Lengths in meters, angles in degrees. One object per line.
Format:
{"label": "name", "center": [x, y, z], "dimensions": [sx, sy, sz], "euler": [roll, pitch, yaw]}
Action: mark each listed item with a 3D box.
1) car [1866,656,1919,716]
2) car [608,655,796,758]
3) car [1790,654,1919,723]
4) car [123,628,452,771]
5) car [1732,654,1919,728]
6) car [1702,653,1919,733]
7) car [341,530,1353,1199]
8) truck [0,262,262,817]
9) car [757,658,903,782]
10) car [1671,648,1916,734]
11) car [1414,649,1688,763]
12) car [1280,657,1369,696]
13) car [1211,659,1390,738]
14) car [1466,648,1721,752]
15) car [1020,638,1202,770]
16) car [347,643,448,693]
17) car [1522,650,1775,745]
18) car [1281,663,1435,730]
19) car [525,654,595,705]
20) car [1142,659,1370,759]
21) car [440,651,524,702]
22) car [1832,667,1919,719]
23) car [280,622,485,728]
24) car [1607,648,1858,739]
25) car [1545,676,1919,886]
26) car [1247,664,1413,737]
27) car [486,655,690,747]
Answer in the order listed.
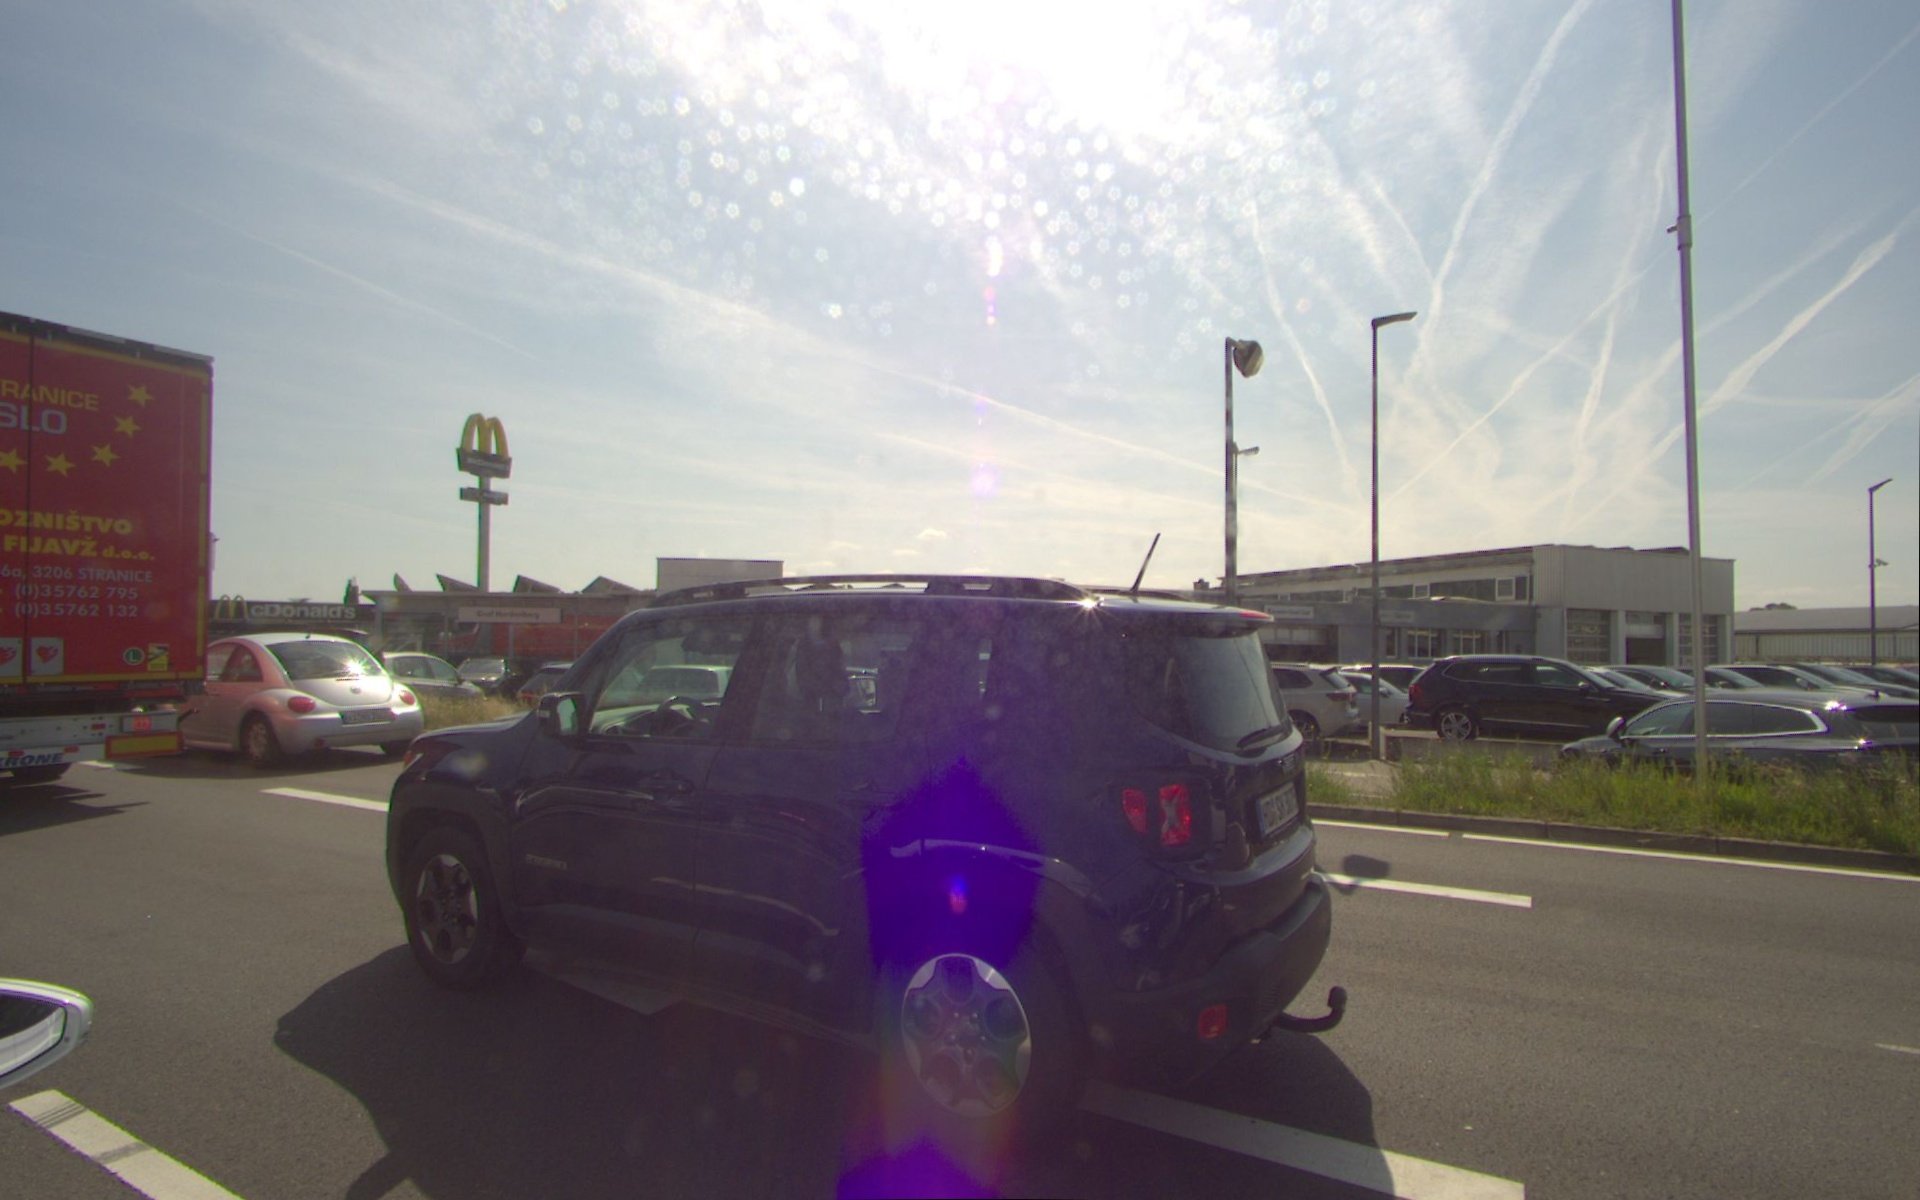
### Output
{"label": "car", "center": [30.326, 2.631, 30.146], "dimensions": [1.882, 1.777, 4.209], "euler": [2, -3, -32]}
{"label": "car", "center": [-4.116, 1.664, 16.616], "dimensions": [1.670, 1.417, 3.847], "euler": [0, -2, 8]}
{"label": "car", "center": [26.004, 2.438, 27.816], "dimensions": [1.883, 1.777, 4.208], "euler": [2, -3, -32]}
{"label": "car", "center": [-8.188, 1.085, 12.151], "dimensions": [3.937, 1.491, 1.658], "euler": [-1, -1, 28]}
{"label": "car", "center": [23.571, 2.368, 26.833], "dimensions": [1.883, 1.777, 4.208], "euler": [2, -3, -32]}
{"label": "car", "center": [21.810, 2.294, 25.606], "dimensions": [1.883, 1.777, 4.208], "euler": [2, -3, -32]}
{"label": "car", "center": [-0.609, 0.731, 4.175], "dimensions": [3.942, 1.707, 1.816], "euler": [-1, -1, 32]}
{"label": "truck", "center": [-14.303, -0.368, 12.300], "dimensions": [16.340, 4.324, 2.954], "euler": [-1, -2, 31]}
{"label": "car", "center": [-1.835, 1.706, 15.292], "dimensions": [1.705, 1.555, 4.040], "euler": [1, -2, 0]}
{"label": "car", "center": [19.882, 2.089, 24.047], "dimensions": [1.961, 1.812, 4.202], "euler": [2, -3, -37]}
{"label": "car", "center": [10.812, 1.846, 18.494], "dimensions": [4.175, 1.812, 1.973], "euler": [-1, -3, 35]}
{"label": "car", "center": [13.296, 2.774, 36.699], "dimensions": [1.575, 1.270, 3.722], "euler": [1, -2, -6]}
{"label": "car", "center": [7.821, 2.208, 23.094], "dimensions": [3.666, 1.601, 1.599], "euler": [-1, -2, 31]}
{"label": "car", "center": [12.643, 1.919, 20.189], "dimensions": [4.175, 1.812, 1.973], "euler": [-1, -3, 35]}
{"label": "car", "center": [1.770, 1.214, 12.931], "dimensions": [1.705, 1.420, 4.040], "euler": [1, -2, 0]}
{"label": "car", "center": [-18.713, 2.227, 33.516], "dimensions": [1.964, 1.550, 3.996], "euler": [1, -2, -15]}
{"label": "car", "center": [14.984, 2.038, 21.990], "dimensions": [1.961, 1.812, 4.202], "euler": [2, -3, -37]}
{"label": "car", "center": [10.754, 2.552, 27.080], "dimensions": [3.666, 1.601, 1.599], "euler": [-1, -2, 31]}
{"label": "car", "center": [-13.567, 2.657, 34.151], "dimensions": [1.671, 1.577, 3.783], "euler": [1, -2, -14]}
{"label": "car", "center": [6.088, 2.150, 20.721], "dimensions": [4.172, 1.777, 1.899], "euler": [-1, -3, 33]}
{"label": "car", "center": [-15.966, 2.536, 33.655], "dimensions": [1.771, 1.550, 4.222], "euler": [1, -2, -15]}
{"label": "car", "center": [27.995, 2.692, 28.906], "dimensions": [1.688, 1.438, 3.974], "euler": [2, -3, -34]}
{"label": "car", "center": [-11.706, 1.476, 20.626], "dimensions": [1.669, 1.945, 3.848], "euler": [0, -2, 6]}
{"label": "car", "center": [17.526, 2.037, 22.898], "dimensions": [1.961, 1.812, 4.202], "euler": [2, -3, -37]}
{"label": "car", "center": [7.814, 1.531, 9.720], "dimensions": [1.705, 1.420, 4.350], "euler": [1, -2, 0]}
{"label": "car", "center": [9.239, 2.454, 25.037], "dimensions": [3.666, 1.601, 1.599], "euler": [-1, -2, 31]}
{"label": "car", "center": [-6.601, 1.750, 18.245], "dimensions": [1.670, 1.417, 3.846], "euler": [0, -2, 12]}
